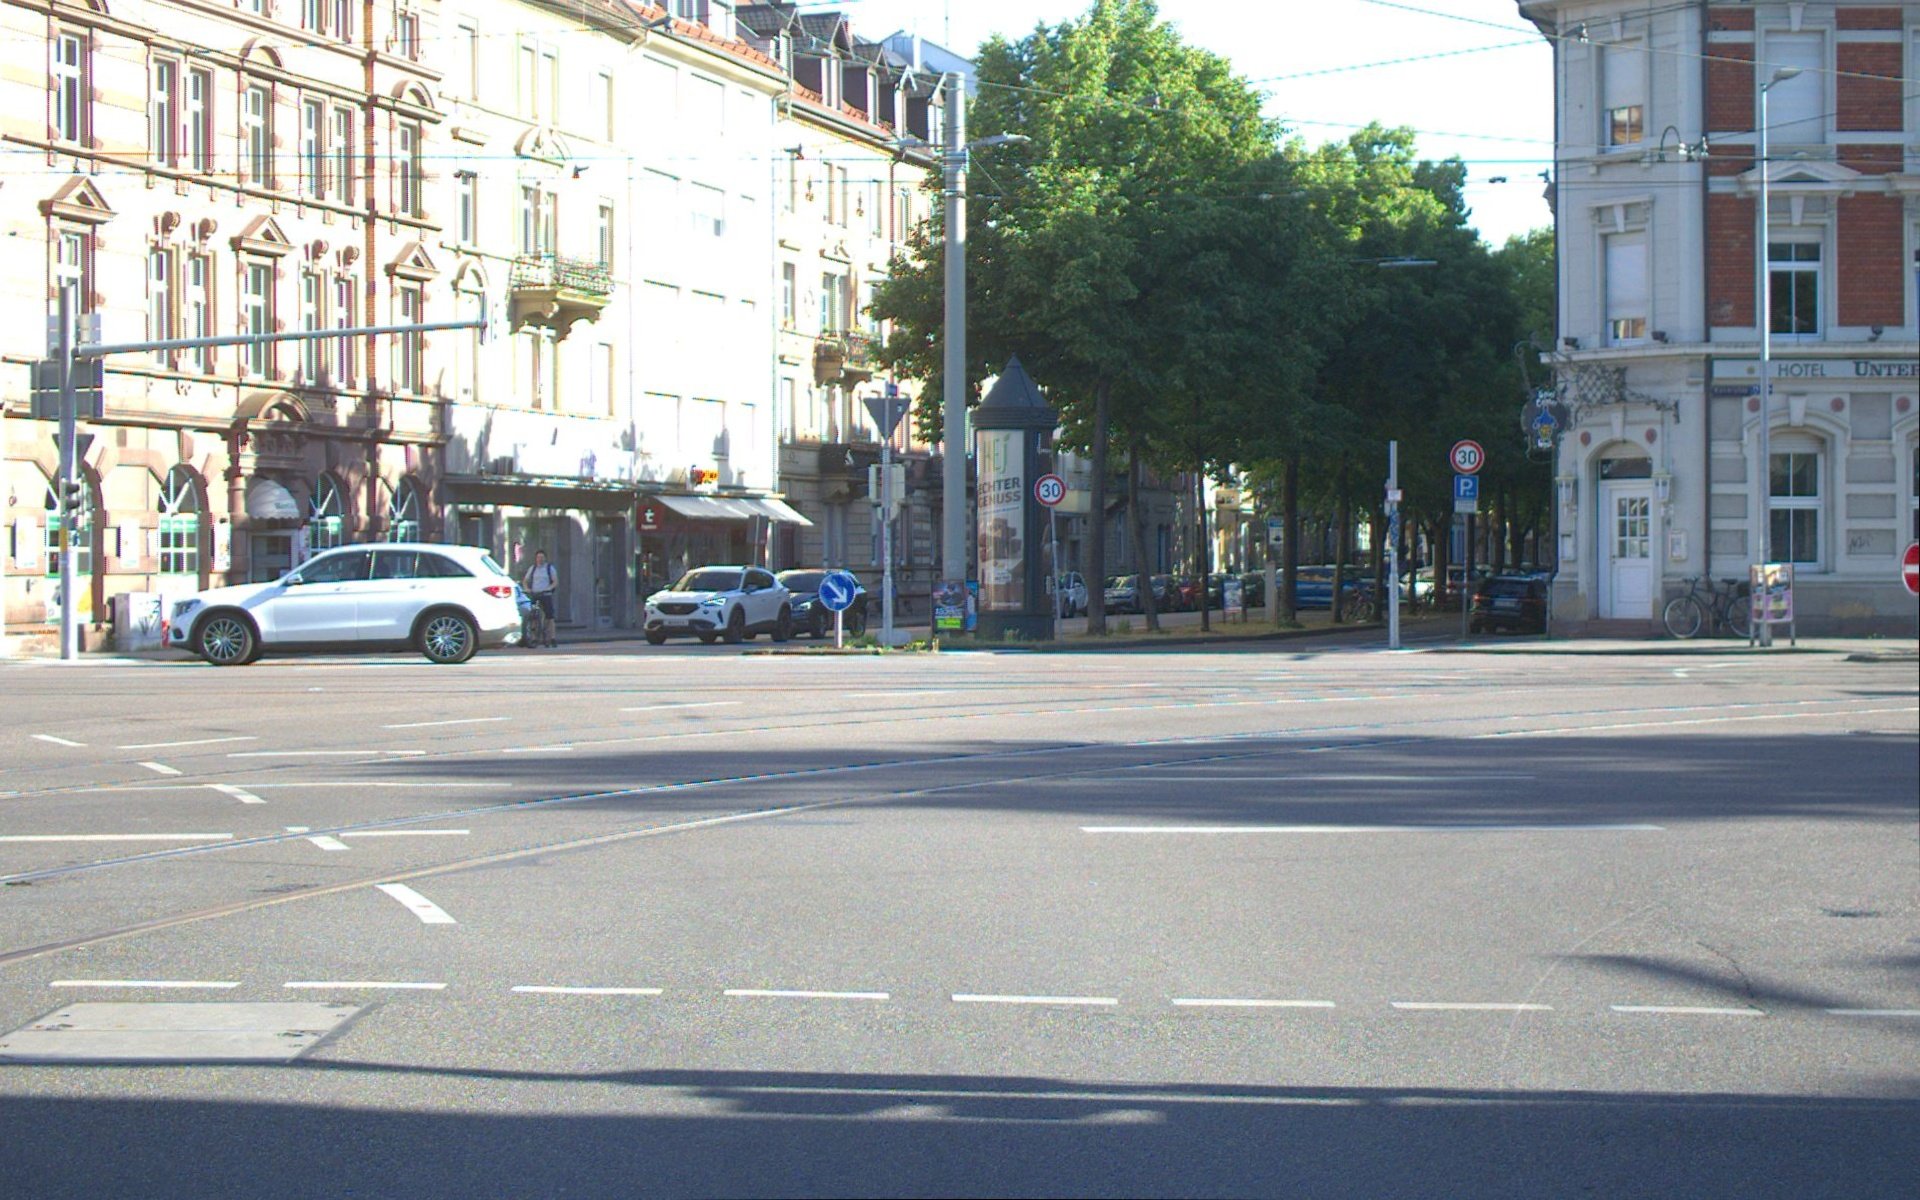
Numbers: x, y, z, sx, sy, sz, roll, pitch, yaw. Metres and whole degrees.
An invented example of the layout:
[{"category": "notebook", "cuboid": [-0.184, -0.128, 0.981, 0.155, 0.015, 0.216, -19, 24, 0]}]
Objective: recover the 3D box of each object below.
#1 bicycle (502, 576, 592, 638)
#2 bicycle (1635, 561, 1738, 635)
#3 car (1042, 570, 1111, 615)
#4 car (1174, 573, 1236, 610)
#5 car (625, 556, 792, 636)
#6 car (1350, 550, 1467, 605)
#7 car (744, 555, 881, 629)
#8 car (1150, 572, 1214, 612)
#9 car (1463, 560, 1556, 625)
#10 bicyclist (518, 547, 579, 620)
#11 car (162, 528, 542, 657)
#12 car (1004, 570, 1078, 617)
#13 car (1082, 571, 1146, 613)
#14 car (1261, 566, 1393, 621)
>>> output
[{"category": "bicycle", "cuboid": [-7.861, 0.125, 65.625, 0.751, 1.131, 2.808, 0, 1, 14]}, {"category": "bicycle", "cuboid": [12.067, -0.040, 57.130, 1.639, 1.218, 0.606, 0, 1, 16]}, {"category": "car", "cuboid": [3.927, -0.258, 115.802, 1.741, 1.393, 4.122, 3, 1, 9]}, {"category": "car", "cuboid": [9.733, -0.352, 136.382, 1.742, 1.393, 4.121, 3, 1, 13]}, {"category": "car", "cuboid": [-4.873, -0.106, 67.162, 2.098, 1.494, 3.998, 0, 1, 14]}, {"category": "car", "cuboid": [17.415, -0.882, 133.420, 4.115, 1.912, 1.744, 3, 1, 21]}, {"category": "car", "cuboid": [-3.124, -0.193, 73.529, 1.994, 1.508, 3.998, 0, 1, 12]}, {"category": "car", "cuboid": [8.515, -0.316, 131.603, 1.742, 1.393, 4.121, 3, 1, 13]}, {"category": "car", "cuboid": [13.173, -0.162, 82.282, 1.652, 1.519, 3.750, 0, 0, 17]}, {"category": "bicyclist", "cuboid": [-7.848, -0.317, 65.587, 0.794, 1.370, 1.107, 0, 1, 14]}, {"category": "car", "cuboid": [-8.063, -0.122, 45.956, 4.847, 1.654, 2.000, 0, 1, -5]}, {"category": "car", "cuboid": [2.603, -0.219, 109.997, 1.741, 1.393, 4.122, 3, 1, 9]}, {"category": "car", "cuboid": [5.514, -0.306, 122.779, 1.741, 1.393, 4.122, 3, 1, 9]}, {"category": "car", "cuboid": [12.297, -0.230, 115.221, 4.113, 1.640, 1.745, 3, 1, 15]}]
